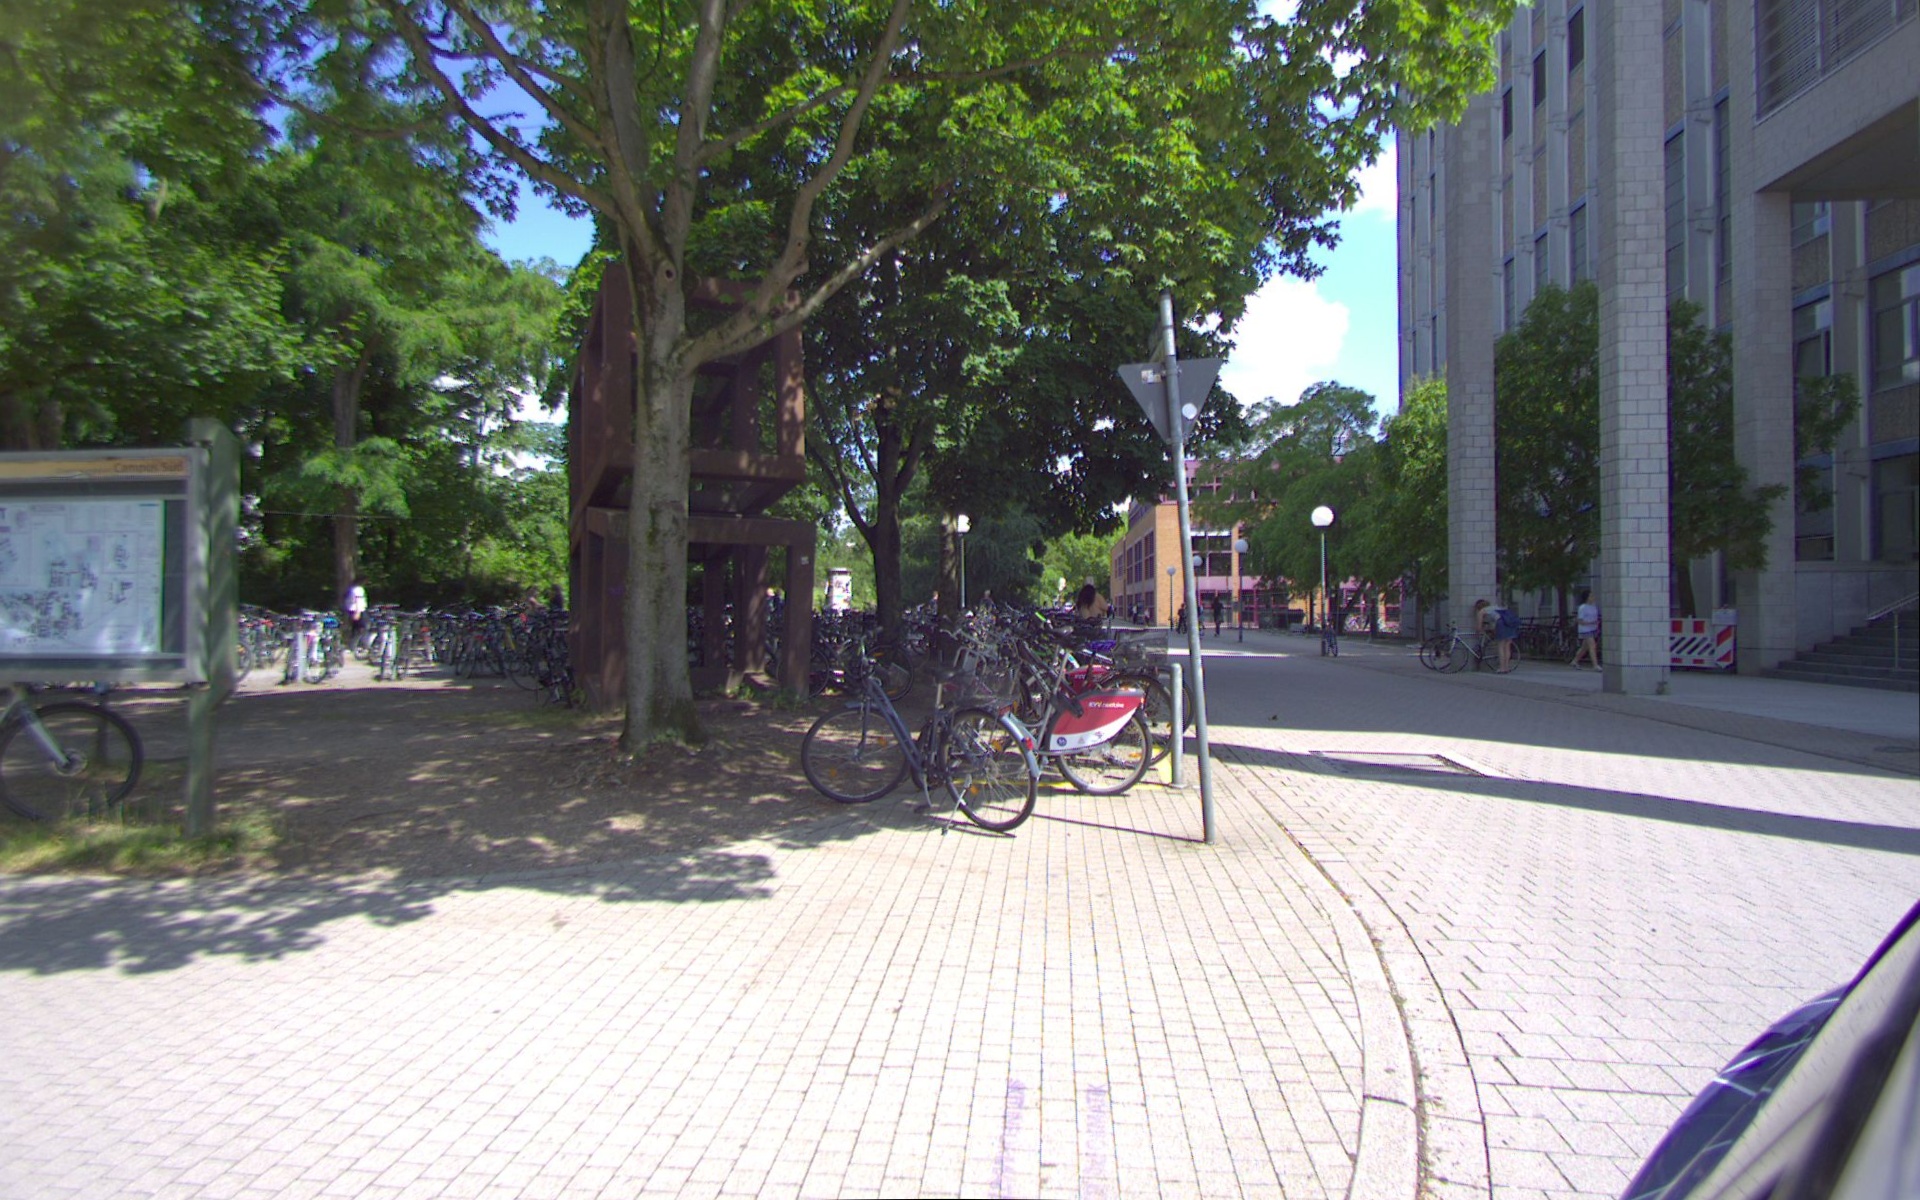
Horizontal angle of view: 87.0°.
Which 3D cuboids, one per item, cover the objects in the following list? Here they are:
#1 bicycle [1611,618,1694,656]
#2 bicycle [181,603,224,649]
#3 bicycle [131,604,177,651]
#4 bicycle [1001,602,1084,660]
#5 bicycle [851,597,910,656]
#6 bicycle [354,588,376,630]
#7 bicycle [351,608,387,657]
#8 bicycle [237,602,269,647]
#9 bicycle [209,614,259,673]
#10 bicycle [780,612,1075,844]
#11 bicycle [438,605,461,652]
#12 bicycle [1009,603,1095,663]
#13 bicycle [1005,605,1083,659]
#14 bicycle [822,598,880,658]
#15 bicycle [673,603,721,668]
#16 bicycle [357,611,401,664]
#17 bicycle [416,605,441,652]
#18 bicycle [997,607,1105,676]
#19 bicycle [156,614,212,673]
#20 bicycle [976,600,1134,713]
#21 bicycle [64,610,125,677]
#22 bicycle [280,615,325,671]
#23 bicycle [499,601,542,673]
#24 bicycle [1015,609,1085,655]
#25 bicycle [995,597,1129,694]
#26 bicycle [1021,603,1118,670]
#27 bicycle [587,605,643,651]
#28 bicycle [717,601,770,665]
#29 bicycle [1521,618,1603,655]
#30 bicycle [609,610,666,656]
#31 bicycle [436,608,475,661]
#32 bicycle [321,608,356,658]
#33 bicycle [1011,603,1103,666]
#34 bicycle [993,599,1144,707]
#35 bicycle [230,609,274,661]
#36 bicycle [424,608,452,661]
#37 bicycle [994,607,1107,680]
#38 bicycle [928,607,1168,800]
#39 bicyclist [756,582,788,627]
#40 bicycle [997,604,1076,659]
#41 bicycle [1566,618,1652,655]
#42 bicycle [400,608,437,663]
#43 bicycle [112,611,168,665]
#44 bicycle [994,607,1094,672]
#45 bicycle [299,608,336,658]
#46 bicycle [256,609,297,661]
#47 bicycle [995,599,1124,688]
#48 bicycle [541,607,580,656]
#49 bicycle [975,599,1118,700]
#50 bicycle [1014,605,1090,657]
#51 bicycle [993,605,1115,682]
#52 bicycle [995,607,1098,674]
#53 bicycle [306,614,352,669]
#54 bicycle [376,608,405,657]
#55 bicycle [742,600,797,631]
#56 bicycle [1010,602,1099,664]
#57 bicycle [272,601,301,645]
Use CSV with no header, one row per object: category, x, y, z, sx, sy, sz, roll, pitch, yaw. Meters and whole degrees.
bicycle,15.978,0.845,23.410,0.632,0.769,1.988,1,1,3
bicycle,-19.170,0.645,25.630,0.468,1.107,1.614,-1,1,-23
bicycle,-20.142,0.660,25.307,0.468,1.107,1.614,-1,1,-23
bicycle,1.665,0.624,20.514,1.656,1.144,0.454,1,-3,1
bicycle,-1.697,0.536,21.404,0.405,1.185,1.846,0,0,-33
bicycle,-15.982,0.228,27.175,0.469,1.107,1.612,-1,1,-31
bicycle,-12.945,0.692,22.191,0.469,0.991,1.907,-1,1,-24
bicycle,-18.352,0.610,26.282,0.341,1.107,1.614,-1,1,-23
bicycle,-13.672,0.793,19.098,0.371,0.991,1.907,-1,1,-24
bicycle,-0.240,0.667,5.990,1.777,1.155,0.598,0,2,39
bicycle,-11.596,0.625,23.002,0.371,0.991,1.907,-1,1,-24
bicycle,1.797,0.653,19.929,1.656,1.144,0.454,1,-3,1
bicycle,1.836,0.705,22.135,1.656,1.144,0.454,1,-3,1
bicycle,-2.283,0.559,21.010,0.405,1.185,1.846,0,0,-33
bicycle,-5.031,0.647,19.286,0.428,1.185,1.847,0,0,-29
bicycle,-11.577,0.726,20.138,0.372,0.991,1.900,-1,1,-42
bicycle,-11.975,0.625,22.832,0.371,0.991,1.907,-1,1,-24
bicycle,1.423,0.652,15.971,1.656,1.061,0.617,1,-3,1
bicycle,-14.284,0.775,18.665,0.371,0.991,1.907,-1,1,-24
bicycle,1.039,0.597,11.044,1.670,1.139,0.480,1,1,12
bicycle,-15.603,0.751,18.280,0.469,1.096,1.906,-1,1,-30
bicycle,-12.595,0.794,19.377,0.372,0.991,1.899,-1,1,-43
bicycle,-7.690,0.618,17.668,0.405,1.185,1.846,0,0,-33
bicycle,2.156,0.773,24.338,1.657,1.098,0.478,0,-3,2
bicycle,1.320,0.572,13.077,1.668,1.165,0.626,1,1,8
bicycle,1.914,0.637,17.827,1.656,1.144,0.454,1,-3,1
bicycle,-7.837,0.619,22.942,0.470,0.991,1.899,-1,1,-43
bicycle,-4.272,0.625,19.898,0.405,1.185,1.846,0,0,-33
bicycle,14.296,0.860,24.103,0.631,0.769,1.992,0,1,-4
bicycle,-7.431,0.745,23.280,0.470,0.991,1.899,-1,1,-43
bicycle,-10.442,0.690,20.923,0.469,1.035,1.743,-1,1,-35
bicycle,-13.355,0.688,21.777,0.371,0.991,1.907,-1,1,-24
bicycle,1.783,0.635,18.692,1.656,1.144,0.454,1,-3,1
bicycle,1.243,0.585,11.529,1.670,1.139,0.564,1,1,12
bicycle,-14.764,0.712,21.139,0.371,0.991,1.907,-1,1,-24
bicycle,-10.809,0.696,20.944,0.288,1.035,1.743,-1,1,-35
bicycle,1.366,0.649,15.236,1.667,1.061,0.616,0,-3,7
bicycle,0.555,0.650,6.554,1.463,1.155,0.561,-1,1,4
bicyclist,-6.251,0.150,33.663,0.788,1.465,0.744,0,0,-37
bicycle,1.632,0.676,21.638,1.656,1.144,0.454,1,-3,1
bicycle,15.148,0.833,23.690,0.631,0.769,1.992,0,1,-4
bicycle,-11.084,0.706,20.700,0.469,1.035,1.743,-1,1,-35
bicycle,-16.546,0.738,20.451,0.371,0.991,1.907,-1,1,-24
bicycle,1.425,0.675,17.275,1.656,1.061,0.501,1,-3,1
bicycle,-13.768,0.690,21.719,0.371,0.991,1.907,-1,1,-24
bicycle,-14.340,0.717,21.257,0.371,0.991,1.907,-1,1,-24
bicycle,1.333,0.589,13.760,1.663,1.165,0.628,1,-3,-2
bicycle,-8.756,0.664,22.151,0.469,0.991,1.905,-1,1,-32
bicycle,1.069,0.580,12.391,1.670,1.139,0.626,1,1,12
bicycle,2.045,0.698,22.653,1.656,1.144,0.478,1,-3,1
bicycle,1.326,0.618,14.426,1.663,1.061,0.568,1,-3,-1
bicycle,1.412,0.668,16.693,1.656,1.061,0.617,1,-3,1
bicycle,-12.283,0.777,19.691,0.372,0.991,1.899,-1,1,-43
bicycle,-12.570,0.687,22.353,0.371,0.991,1.907,-1,1,-24
bicycle,-6.313,0.506,33.621,1.721,0.942,0.586,-2,3,-37
bicycle,1.794,0.628,19.343,1.656,1.144,0.454,1,-3,1
bicycle,-17.695,0.588,26.610,0.341,1.107,1.614,-1,1,-23
